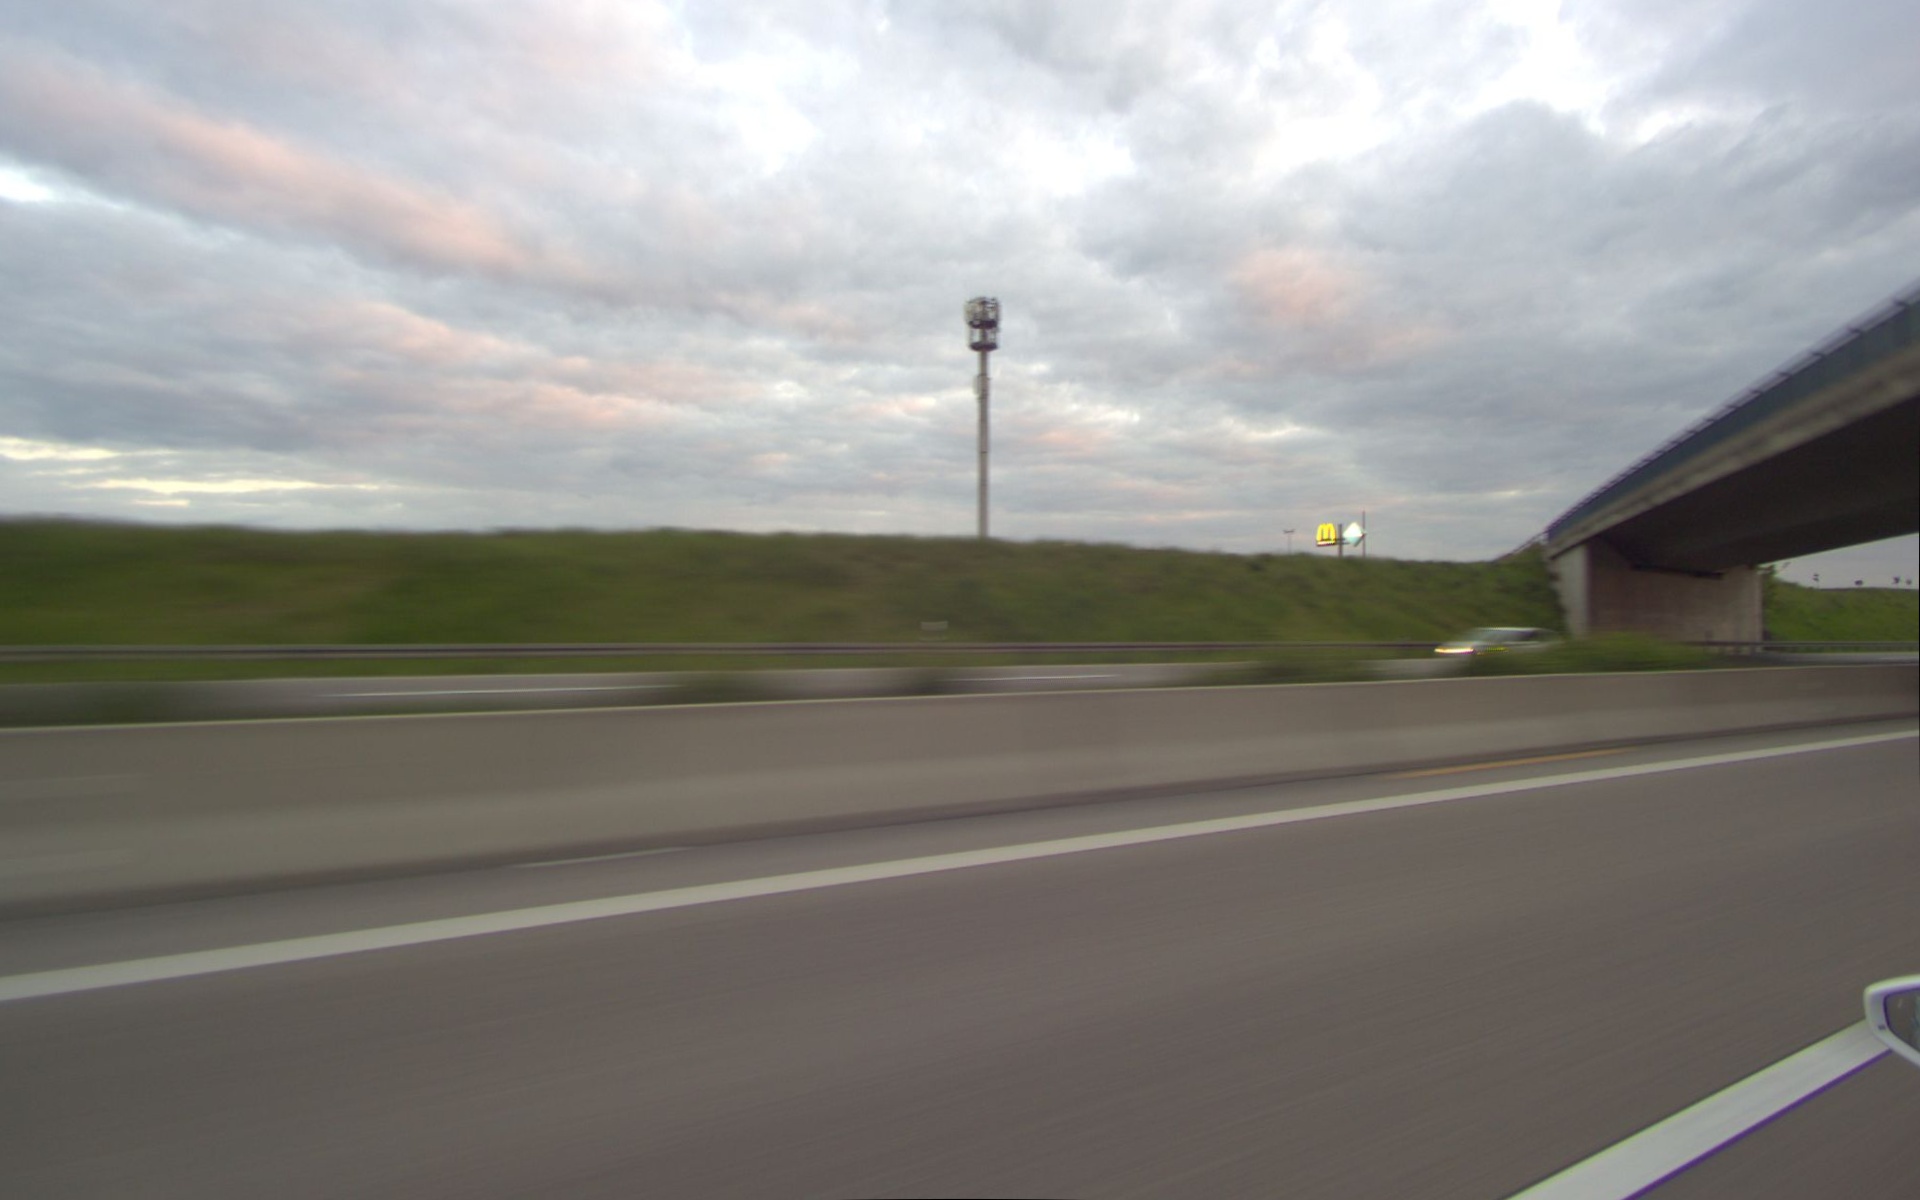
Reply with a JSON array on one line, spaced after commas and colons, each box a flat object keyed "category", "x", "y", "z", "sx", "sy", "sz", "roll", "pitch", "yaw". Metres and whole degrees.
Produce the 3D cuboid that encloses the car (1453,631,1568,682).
[{"category": "car", "x": 17.589, "y": 1.770, "z": 32.066, "sx": 3.893, "sy": 1.490, "sz": 1.554, "roll": 2, "pitch": -1, "yaw": -33}]
